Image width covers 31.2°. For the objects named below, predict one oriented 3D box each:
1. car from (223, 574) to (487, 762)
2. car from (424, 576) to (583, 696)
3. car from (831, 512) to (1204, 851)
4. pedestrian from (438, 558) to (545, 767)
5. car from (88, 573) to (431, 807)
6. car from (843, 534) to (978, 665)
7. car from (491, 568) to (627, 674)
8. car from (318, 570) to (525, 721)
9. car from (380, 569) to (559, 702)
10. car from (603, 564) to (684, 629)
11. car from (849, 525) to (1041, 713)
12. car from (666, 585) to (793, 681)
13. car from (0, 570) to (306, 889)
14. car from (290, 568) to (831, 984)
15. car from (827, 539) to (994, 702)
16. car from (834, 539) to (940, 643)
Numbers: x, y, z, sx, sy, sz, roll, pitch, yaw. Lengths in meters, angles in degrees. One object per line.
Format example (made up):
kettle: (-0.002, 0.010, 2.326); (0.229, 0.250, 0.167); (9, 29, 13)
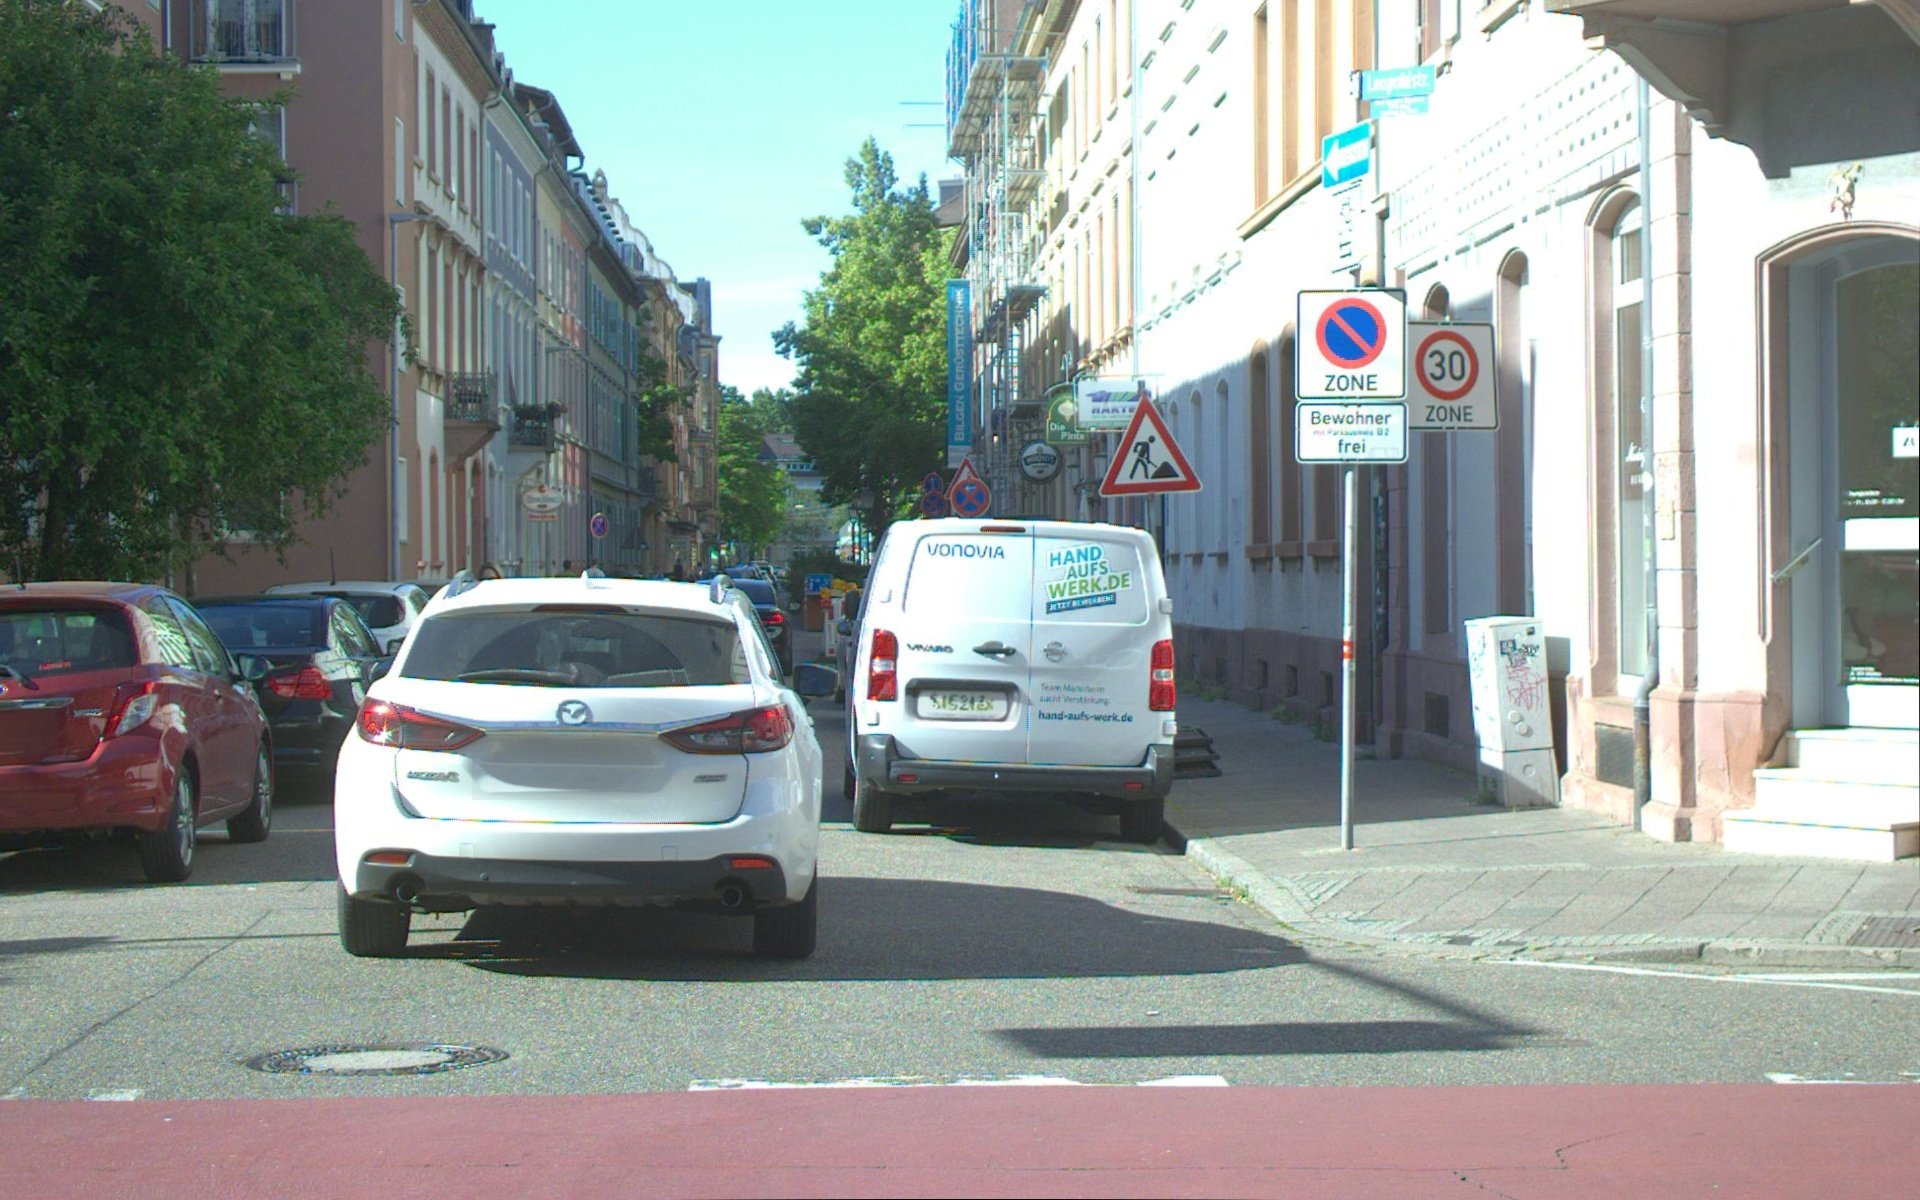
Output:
car: (-5.083, 0.526, 29.307); (1.653, 1.495, 3.763); (0, 1, -1)
car: (-5.929, 0.435, 45.011); (1.653, 1.495, 3.763); (0, 1, -1)
car: (0.236, 0.436, 21.910); (1.894, 1.853, 5.015); (2, 0, -4)
pedestrian: (-3.685, 0.478, 27.001); (0.733, 1.608, 0.816); (-1, 0, -13)
car: (-4.826, 0.565, 24.177); (1.653, 1.495, 4.080); (0, 1, -1)
car: (-0.762, -0.028, 52.706); (1.894, 1.853, 3.995); (-3, 1, -1)
car: (-5.887, 0.283, 50.777); (1.653, 1.495, 3.763); (0, 1, -1)
car: (-5.577, 0.431, 35.990); (1.653, 1.495, 3.763); (0, 1, -1)
car: (-5.733, 0.382, 40.542); (1.653, 1.495, 3.763); (0, 1, -1)
car: (-7.478, -0.092, 81.407); (1.653, 1.495, 3.763); (0, 1, -1)
car: (-0.187, 0.165, 35.841); (1.894, 1.853, 3.995); (0, 1, -1)
car: (-3.514, 0.479, 53.051); (1.760, 1.405, 4.328); (0, 1, -1)
car: (-4.663, 0.611, 18.284); (1.684, 1.495, 3.807); (-1, 1, -1)
car: (-1.476, 0.639, 14.042); (1.831, 1.452, 3.962); (0, -1, -1)
car: (-0.606, 0.207, 41.108); (1.894, 1.853, 3.995); (0, 1, -1)
car: (-1.342, -0.173, 63.269); (1.894, 1.853, 3.995); (0, 1, -1)
